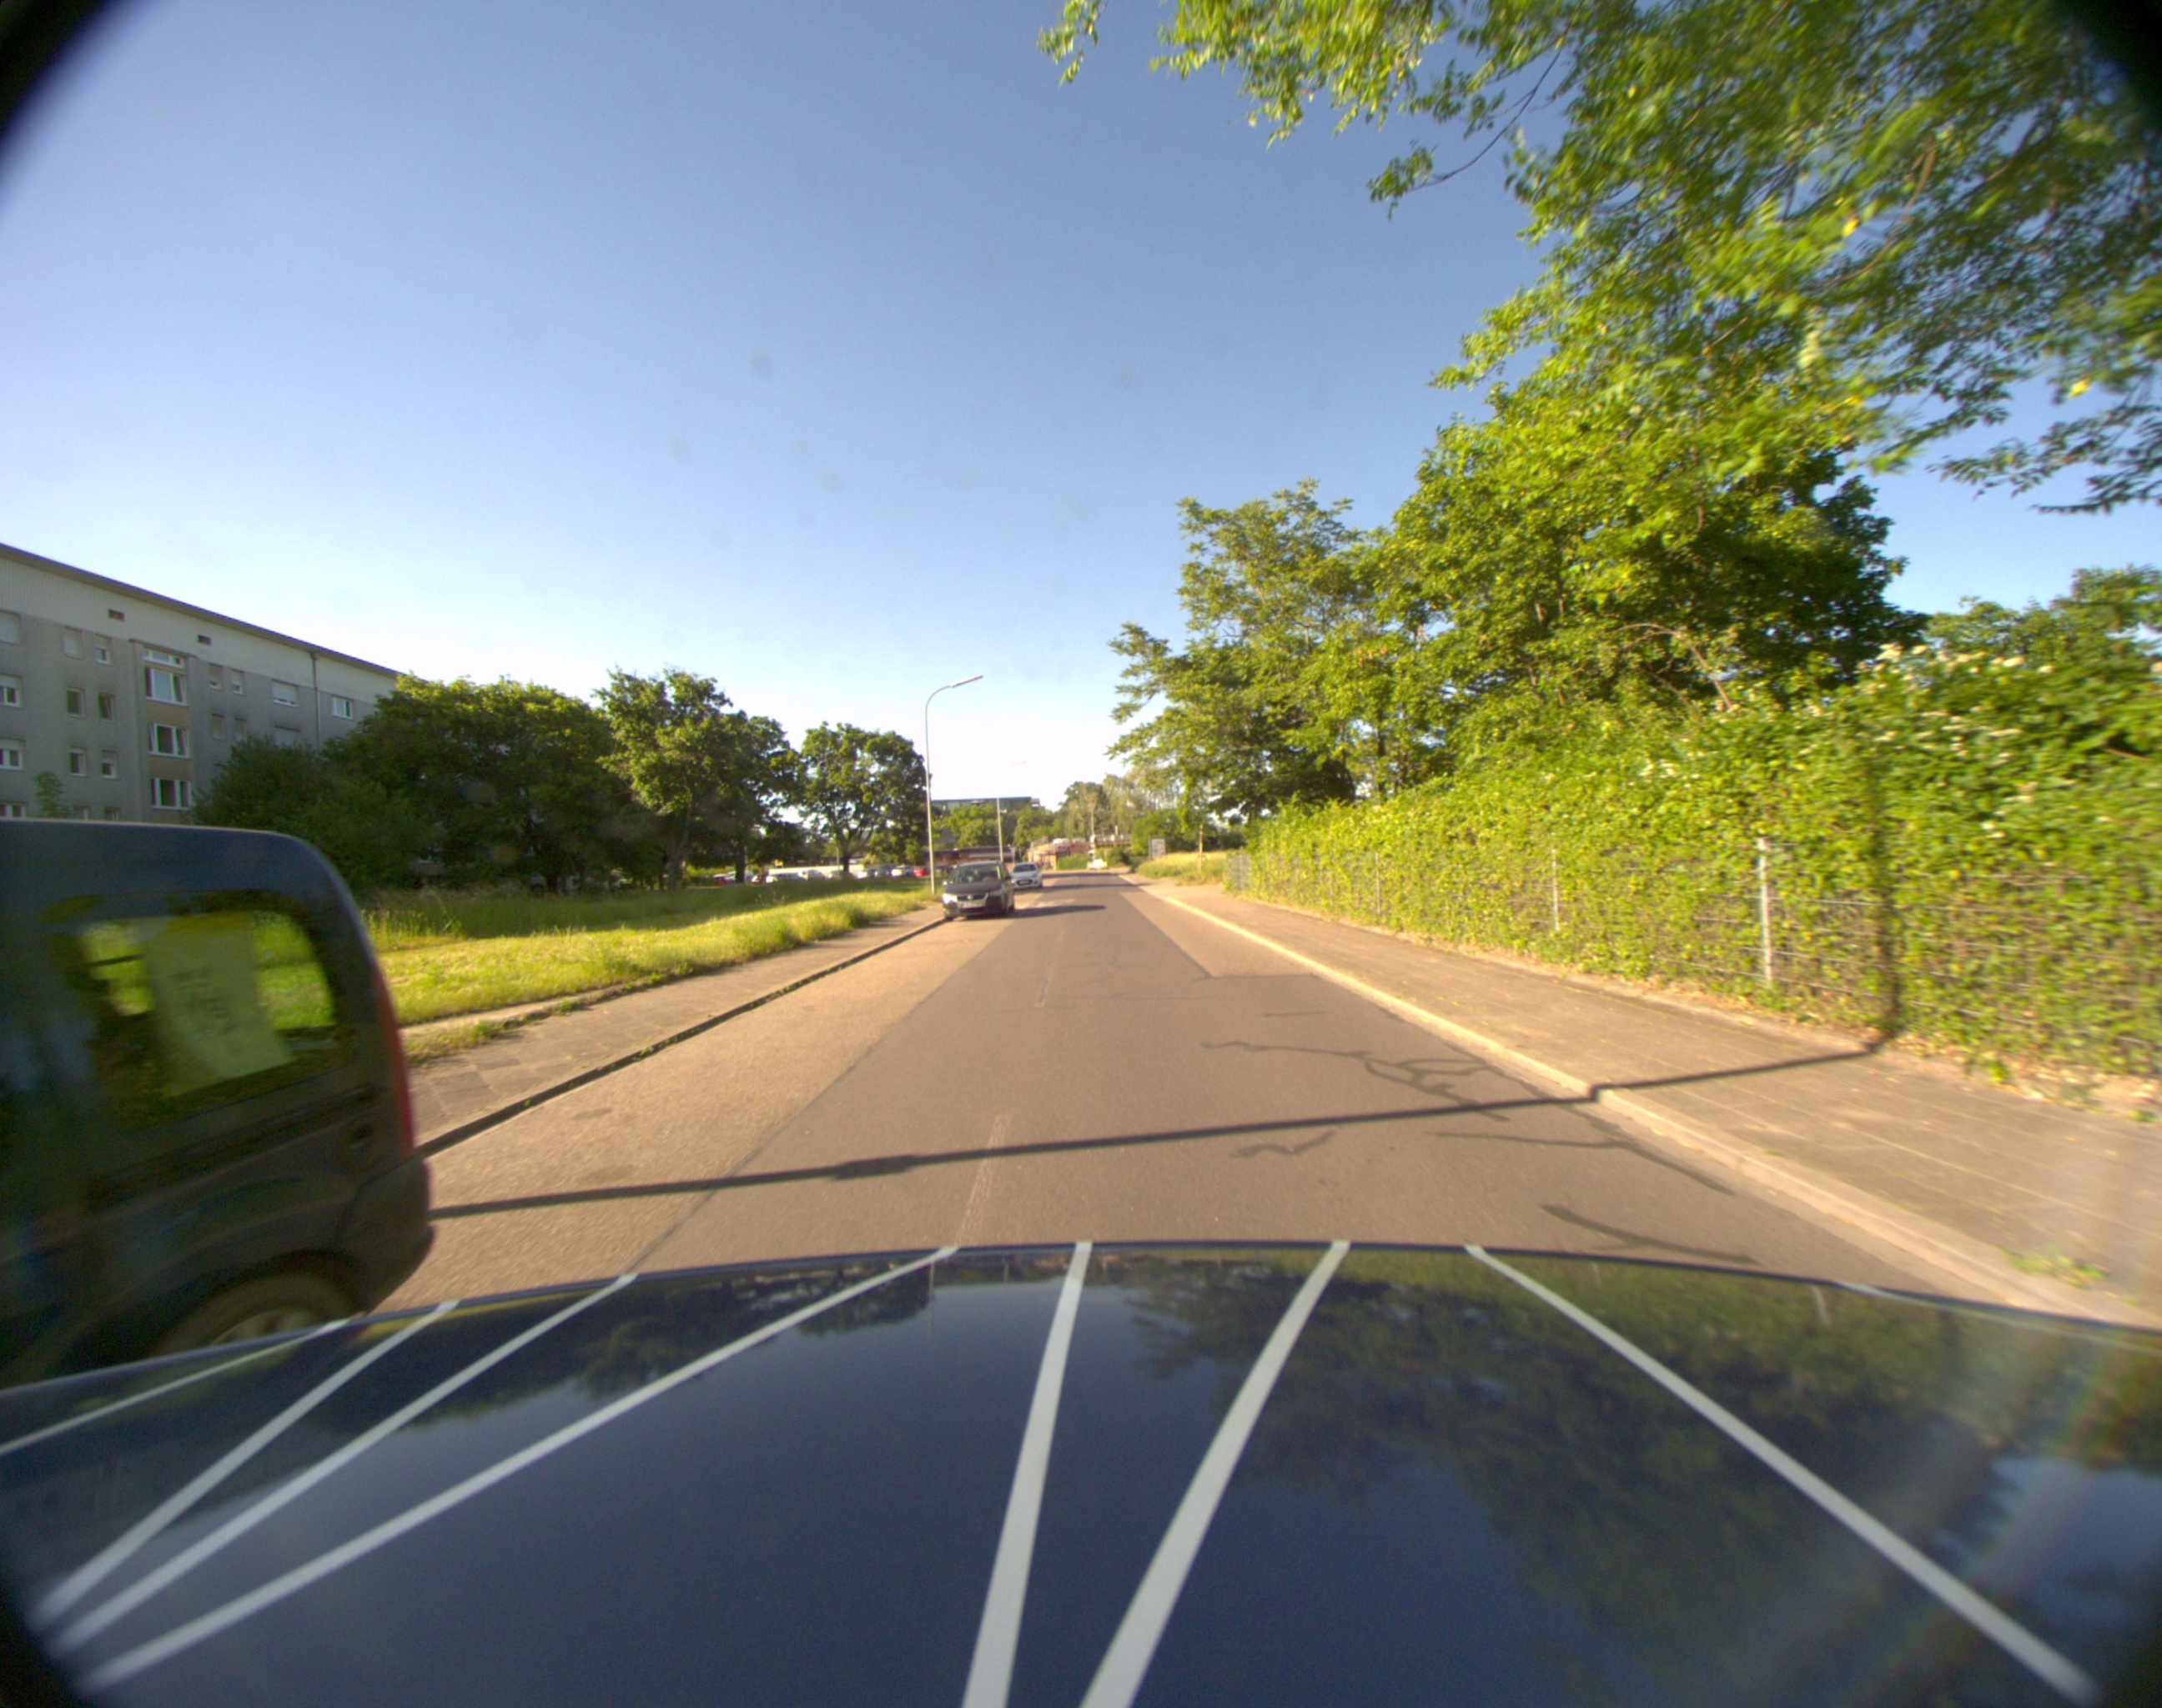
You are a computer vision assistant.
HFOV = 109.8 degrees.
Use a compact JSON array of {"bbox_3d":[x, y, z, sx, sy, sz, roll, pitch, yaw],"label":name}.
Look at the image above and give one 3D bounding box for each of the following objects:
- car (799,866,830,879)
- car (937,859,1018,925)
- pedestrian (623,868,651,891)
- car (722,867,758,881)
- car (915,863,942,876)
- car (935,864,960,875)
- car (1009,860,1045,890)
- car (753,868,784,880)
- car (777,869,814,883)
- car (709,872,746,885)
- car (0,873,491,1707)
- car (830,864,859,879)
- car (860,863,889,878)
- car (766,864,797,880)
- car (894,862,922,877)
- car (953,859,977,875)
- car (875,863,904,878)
[{"bbox_3d":[-36.173,2.551,103.259,1.954,1.552,4.004,-2,0,14],"label":"car"},{"bbox_3d":[-2.945,1.017,22.515,1.844,1.642,4.467,-4,0,-2],"label":"car"},{"bbox_3d":[-41.364,2.339,70.878,1.490,2.019,1.699,-2,0,3],"label":"pedestrian"},{"bbox_3d":[-48.016,2.831,107.223,1.953,1.735,4.709,-2,0,17],"label":"car"},{"bbox_3d":[-19.840,2.037,98.934,1.862,1.461,4.004,-2,0,14],"label":"car"},{"bbox_3d":[-17.163,1.985,97.835,1.779,1.316,4.003,-2,0,10],"label":"car"},{"bbox_3d":[-2.976,1.120,42.805,1.656,1.471,3.916,-4,0,0],"label":"car"},{"bbox_3d":[-43.373,2.776,105.472,1.954,1.552,4.004,-2,0,14],"label":"car"},{"bbox_3d":[-34.315,2.606,91.213,3.632,1.514,2.002,-2,0,17],"label":"car"},{"bbox_3d":[-43.903,3.008,94.401,3.632,1.442,2.002,-2,0,17],"label":"car"},{"bbox_3d":[-2.970,0.978,0.546,1.702,1.720,4.084,-4,0,2],"label":"car"},{"bbox_3d":[-31.770,2.322,102.148,1.954,1.763,4.003,-2,2,14],"label":"car"},{"bbox_3d":[-27.265,2.190,100.563,1.954,1.763,4.004,-2,0,14],"label":"car"},{"bbox_3d":[-41.211,2.505,104.587,1.997,2.002,4.003,-2,0,11],"label":"car"},{"bbox_3d":[-22.437,2.010,98.662,1.858,1.763,4.004,-2,0,14],"label":"car"},{"bbox_3d":[-14.811,1.678,97.491,1.954,1.849,4.002,-2,0,8],"label":"car"},{"bbox_3d":[-24.936,2.094,99.240,1.954,1.763,4.004,-2,0,14],"label":"car"}]
